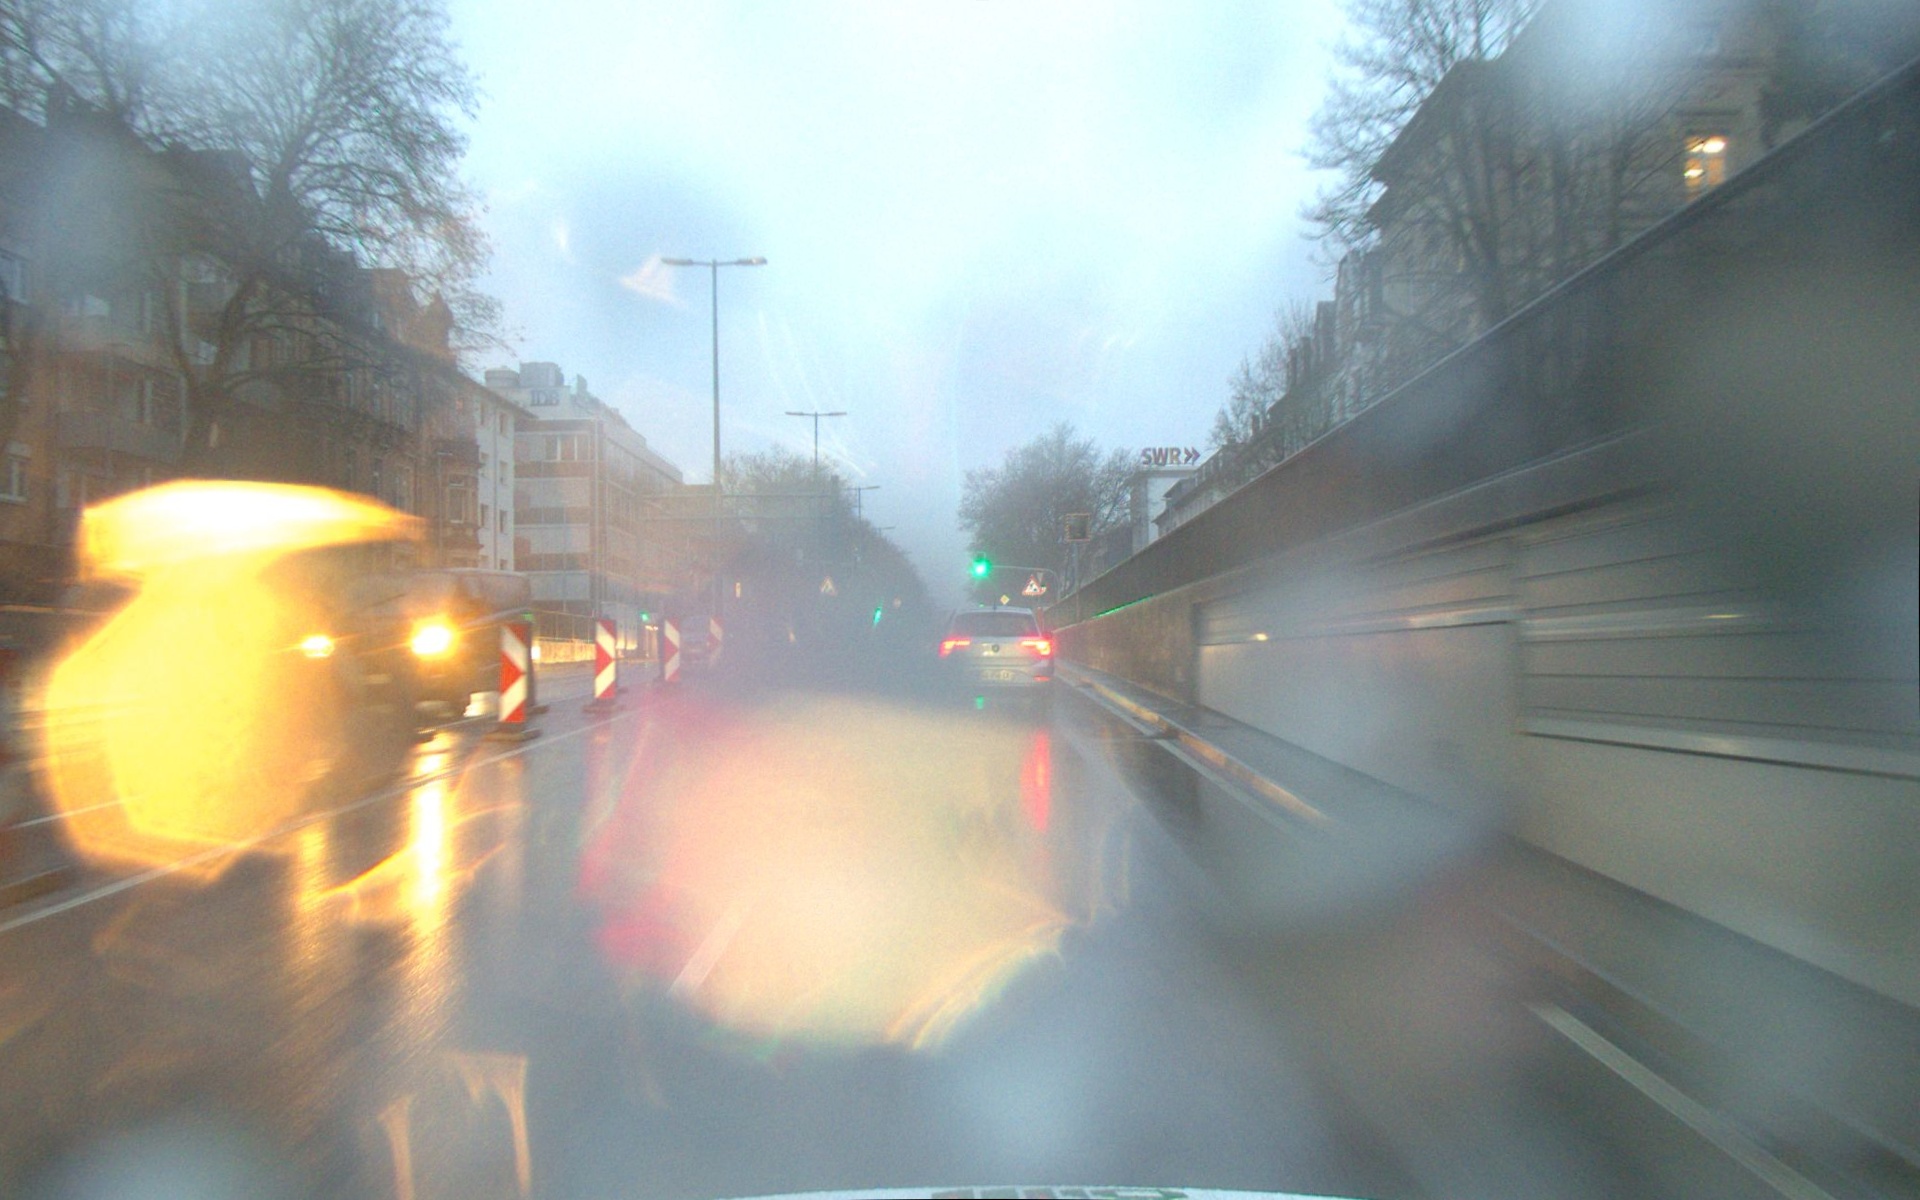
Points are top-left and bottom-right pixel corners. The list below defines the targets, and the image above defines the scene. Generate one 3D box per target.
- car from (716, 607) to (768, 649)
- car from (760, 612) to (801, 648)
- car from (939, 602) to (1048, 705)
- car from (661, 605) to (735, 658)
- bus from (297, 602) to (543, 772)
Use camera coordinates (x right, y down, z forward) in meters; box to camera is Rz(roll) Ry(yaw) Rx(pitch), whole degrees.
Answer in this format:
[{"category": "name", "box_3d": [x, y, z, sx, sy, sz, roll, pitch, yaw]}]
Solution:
[{"category": "car", "box_3d": [-8.150, 1.025, 62.013, 1.466, 1.407, 3.434, -3, 1, 0]}, {"category": "car", "box_3d": [-7.930, 1.326, 73.397, 1.466, 1.407, 3.433, -3, 1, -1]}, {"category": "car", "box_3d": [0.467, 0.781, 24.559, 1.500, 1.422, 3.433, 0, -1, 0]}, {"category": "car", "box_3d": [-7.811, 0.916, 49.601, 1.575, 1.407, 3.695, -3, 1, 0]}, {"category": "bus", "box_3d": [-7.394, 1.091, 23.234, 1.640, 1.999, 5.174, -4, 0, 0]}]
